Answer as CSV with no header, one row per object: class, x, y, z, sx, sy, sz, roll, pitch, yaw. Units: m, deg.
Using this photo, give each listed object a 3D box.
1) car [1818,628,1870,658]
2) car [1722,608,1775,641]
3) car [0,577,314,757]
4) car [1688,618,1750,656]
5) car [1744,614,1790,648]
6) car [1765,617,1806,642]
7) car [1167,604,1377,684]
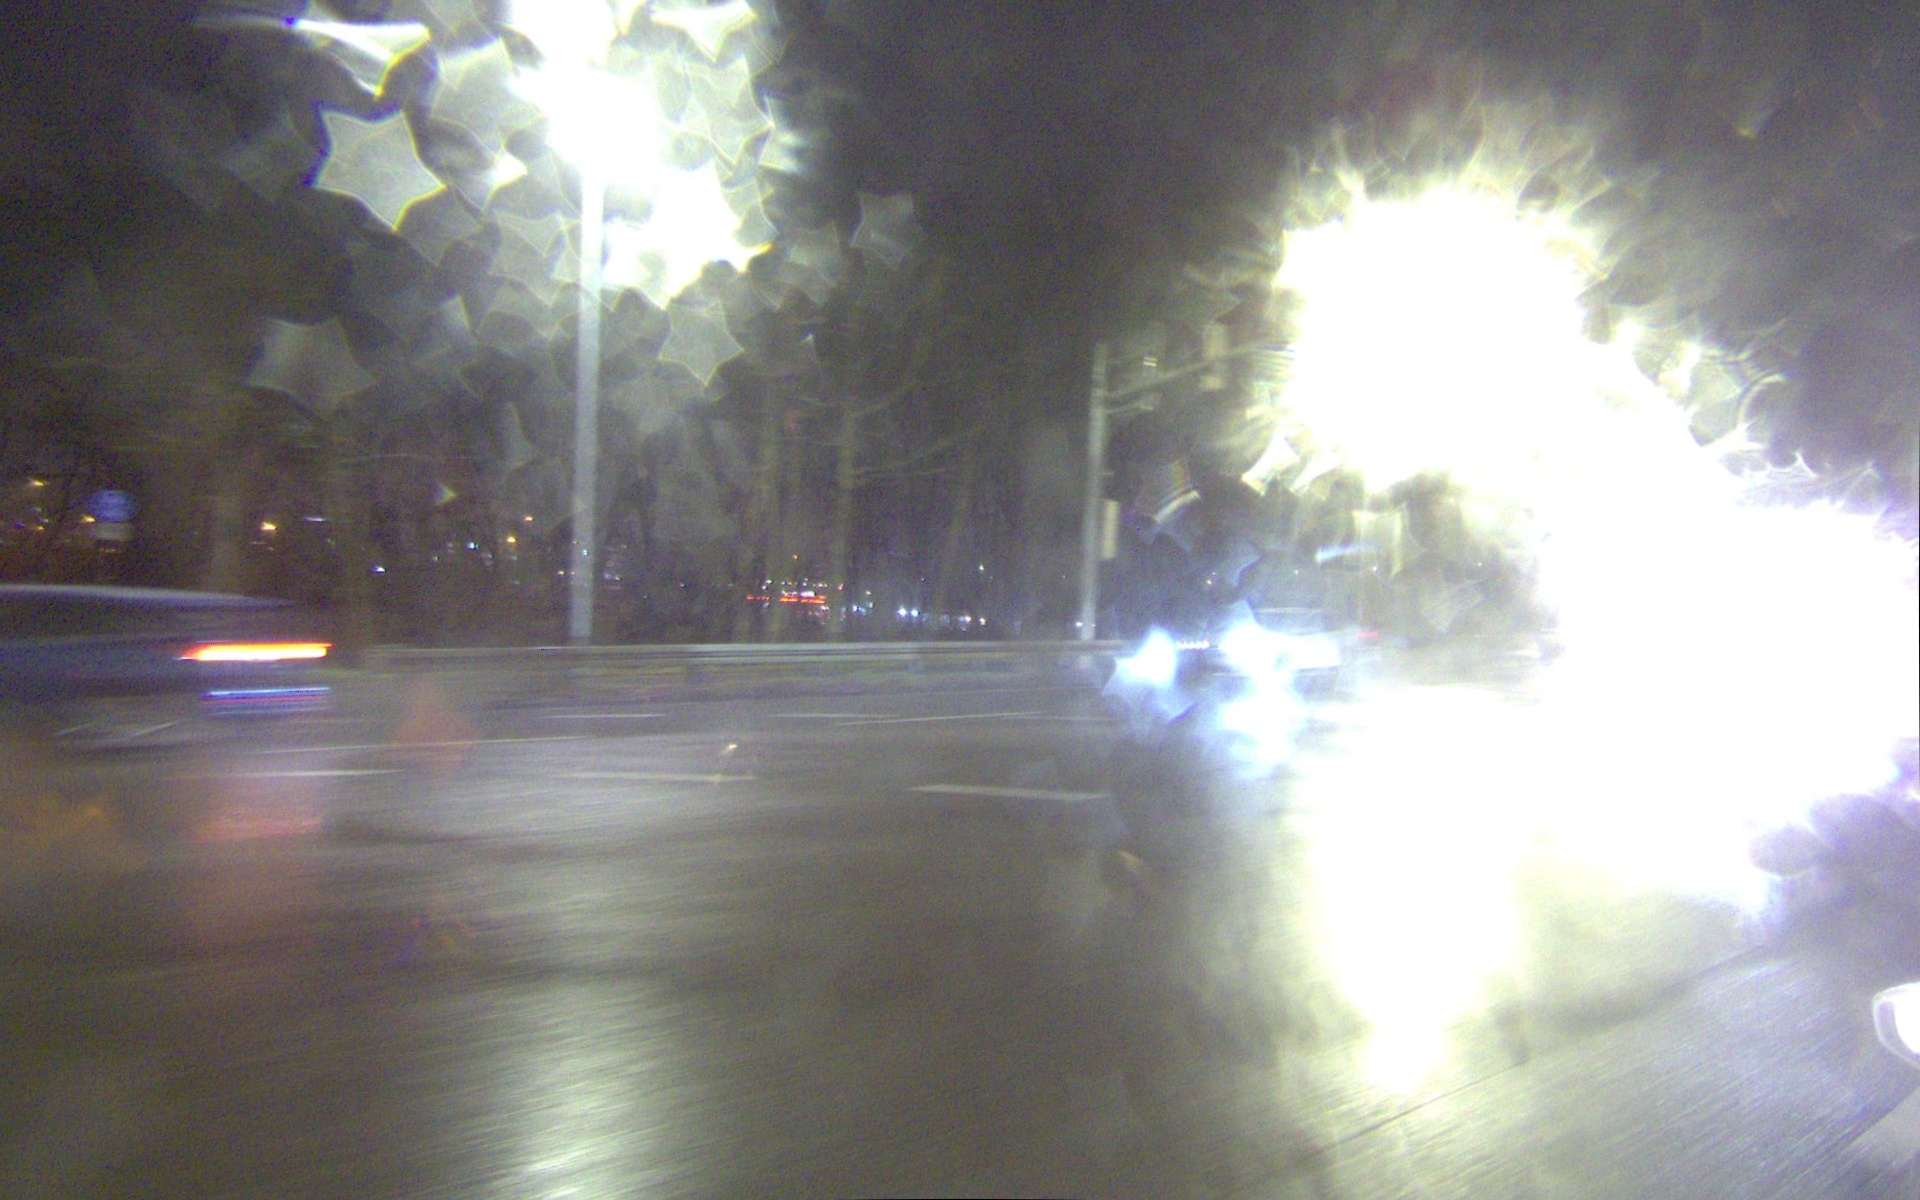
car,53.675,2.603,61.077,1.791,1.639,3.989,3,0,34
car,41.646,1.248,53.031,1.860,1.629,4.634,2,1,42
car,-8.402,0.573,8.960,4.430,1.479,1.769,1,-2,-34
car,33.007,1.589,43.611,1.802,1.467,4.637,3,0,41
car,51.608,1.941,64.309,1.967,2.040,4.334,2,1,35
car,60.457,2.155,73.611,1.791,1.639,3.990,3,0,33
car,6.038,0.793,19.253,4.104,1.371,1.794,1,0,-37
